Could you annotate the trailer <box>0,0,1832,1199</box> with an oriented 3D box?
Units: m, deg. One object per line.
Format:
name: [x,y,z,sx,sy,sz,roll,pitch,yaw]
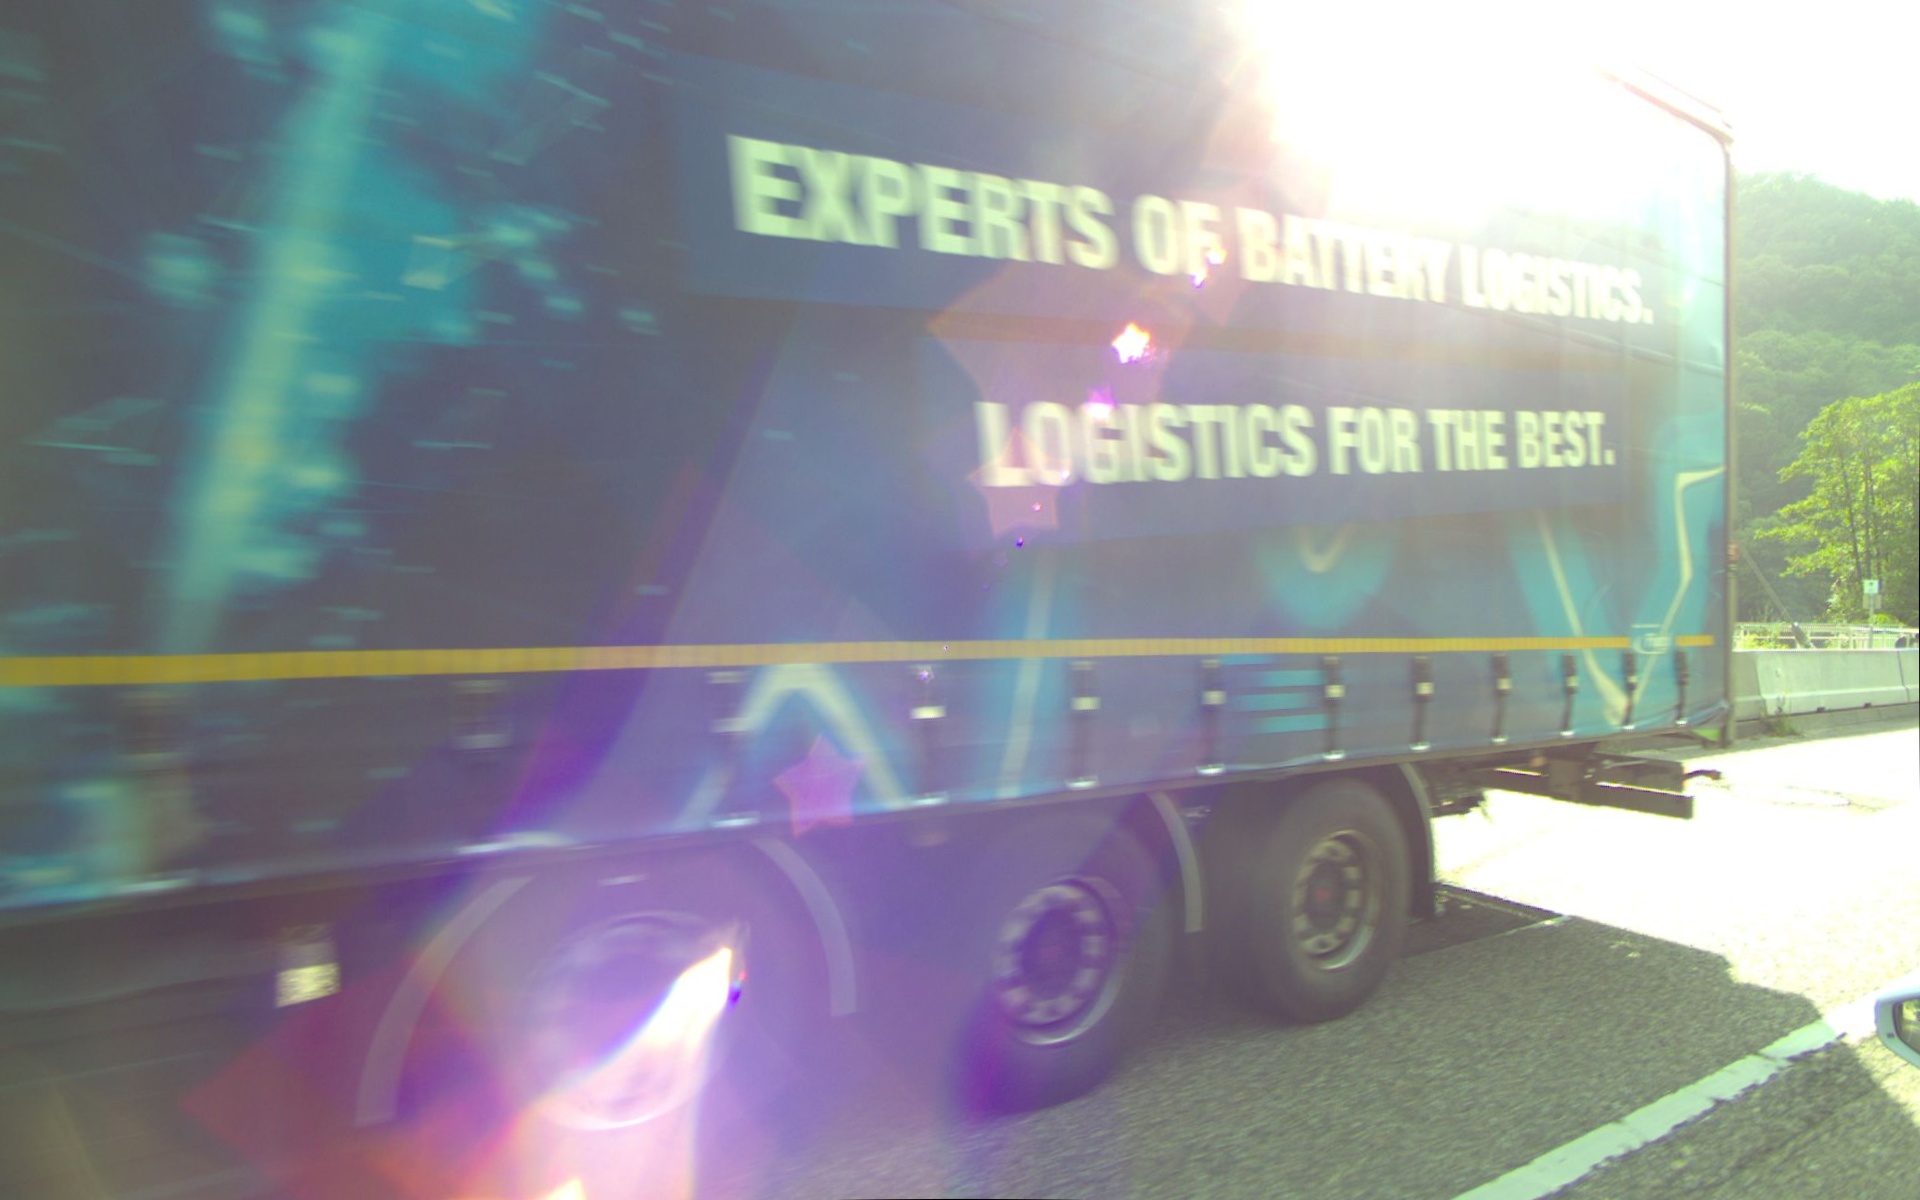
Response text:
trailer: [-1.999,-0.638,2.902,13.514,4.066,2.842,1,-1,-31]
